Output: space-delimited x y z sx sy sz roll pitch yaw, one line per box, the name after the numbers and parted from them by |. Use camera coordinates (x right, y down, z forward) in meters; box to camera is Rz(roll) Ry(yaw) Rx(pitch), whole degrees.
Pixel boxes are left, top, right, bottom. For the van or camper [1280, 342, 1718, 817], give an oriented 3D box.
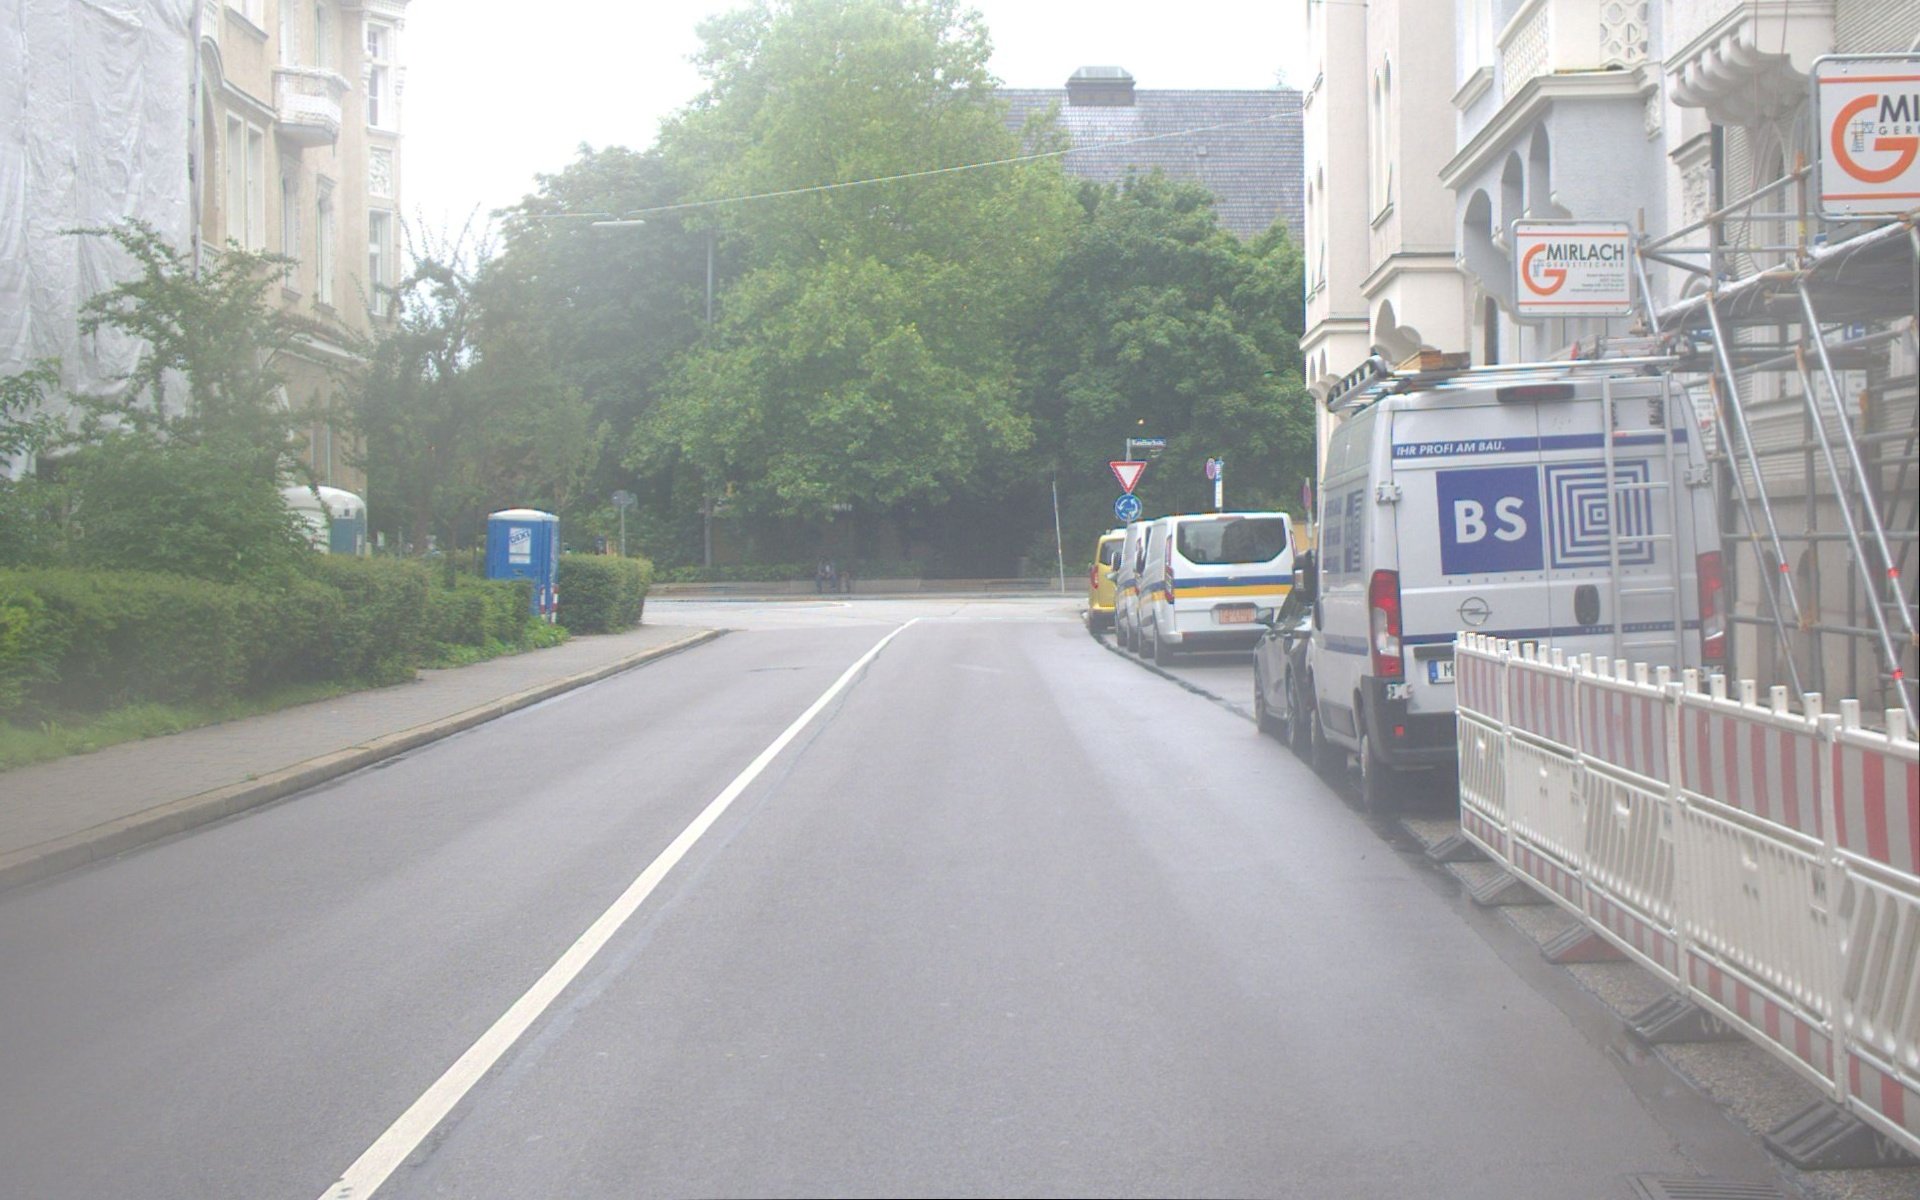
3.263 -0.151 21.916 1.953 2.628 5.459 -1 1 1 | van or camper

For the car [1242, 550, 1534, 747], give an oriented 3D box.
3.348 0.332 27.566 1.753 1.429 4.087 -1 1 -1 | car

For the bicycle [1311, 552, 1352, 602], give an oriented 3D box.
8.457 -0.533 78.286 0.694 1.090 2.283 -3 1 2 | bicycle

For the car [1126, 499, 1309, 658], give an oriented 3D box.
3.423 -0.316 46.528 1.959 2.007 4.993 -1 1 -1 | car

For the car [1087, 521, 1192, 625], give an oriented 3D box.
3.355 -0.528 63.967 1.850 1.846 4.820 -1 1 3 | car

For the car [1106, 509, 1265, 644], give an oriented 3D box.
3.399 -0.386 52.700 1.959 1.930 4.993 -1 1 -1 | car

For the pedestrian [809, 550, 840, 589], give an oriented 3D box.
-4.135 -0.932 105.159 0.812 1.185 0.919 -1 1 7 | pedestrian
